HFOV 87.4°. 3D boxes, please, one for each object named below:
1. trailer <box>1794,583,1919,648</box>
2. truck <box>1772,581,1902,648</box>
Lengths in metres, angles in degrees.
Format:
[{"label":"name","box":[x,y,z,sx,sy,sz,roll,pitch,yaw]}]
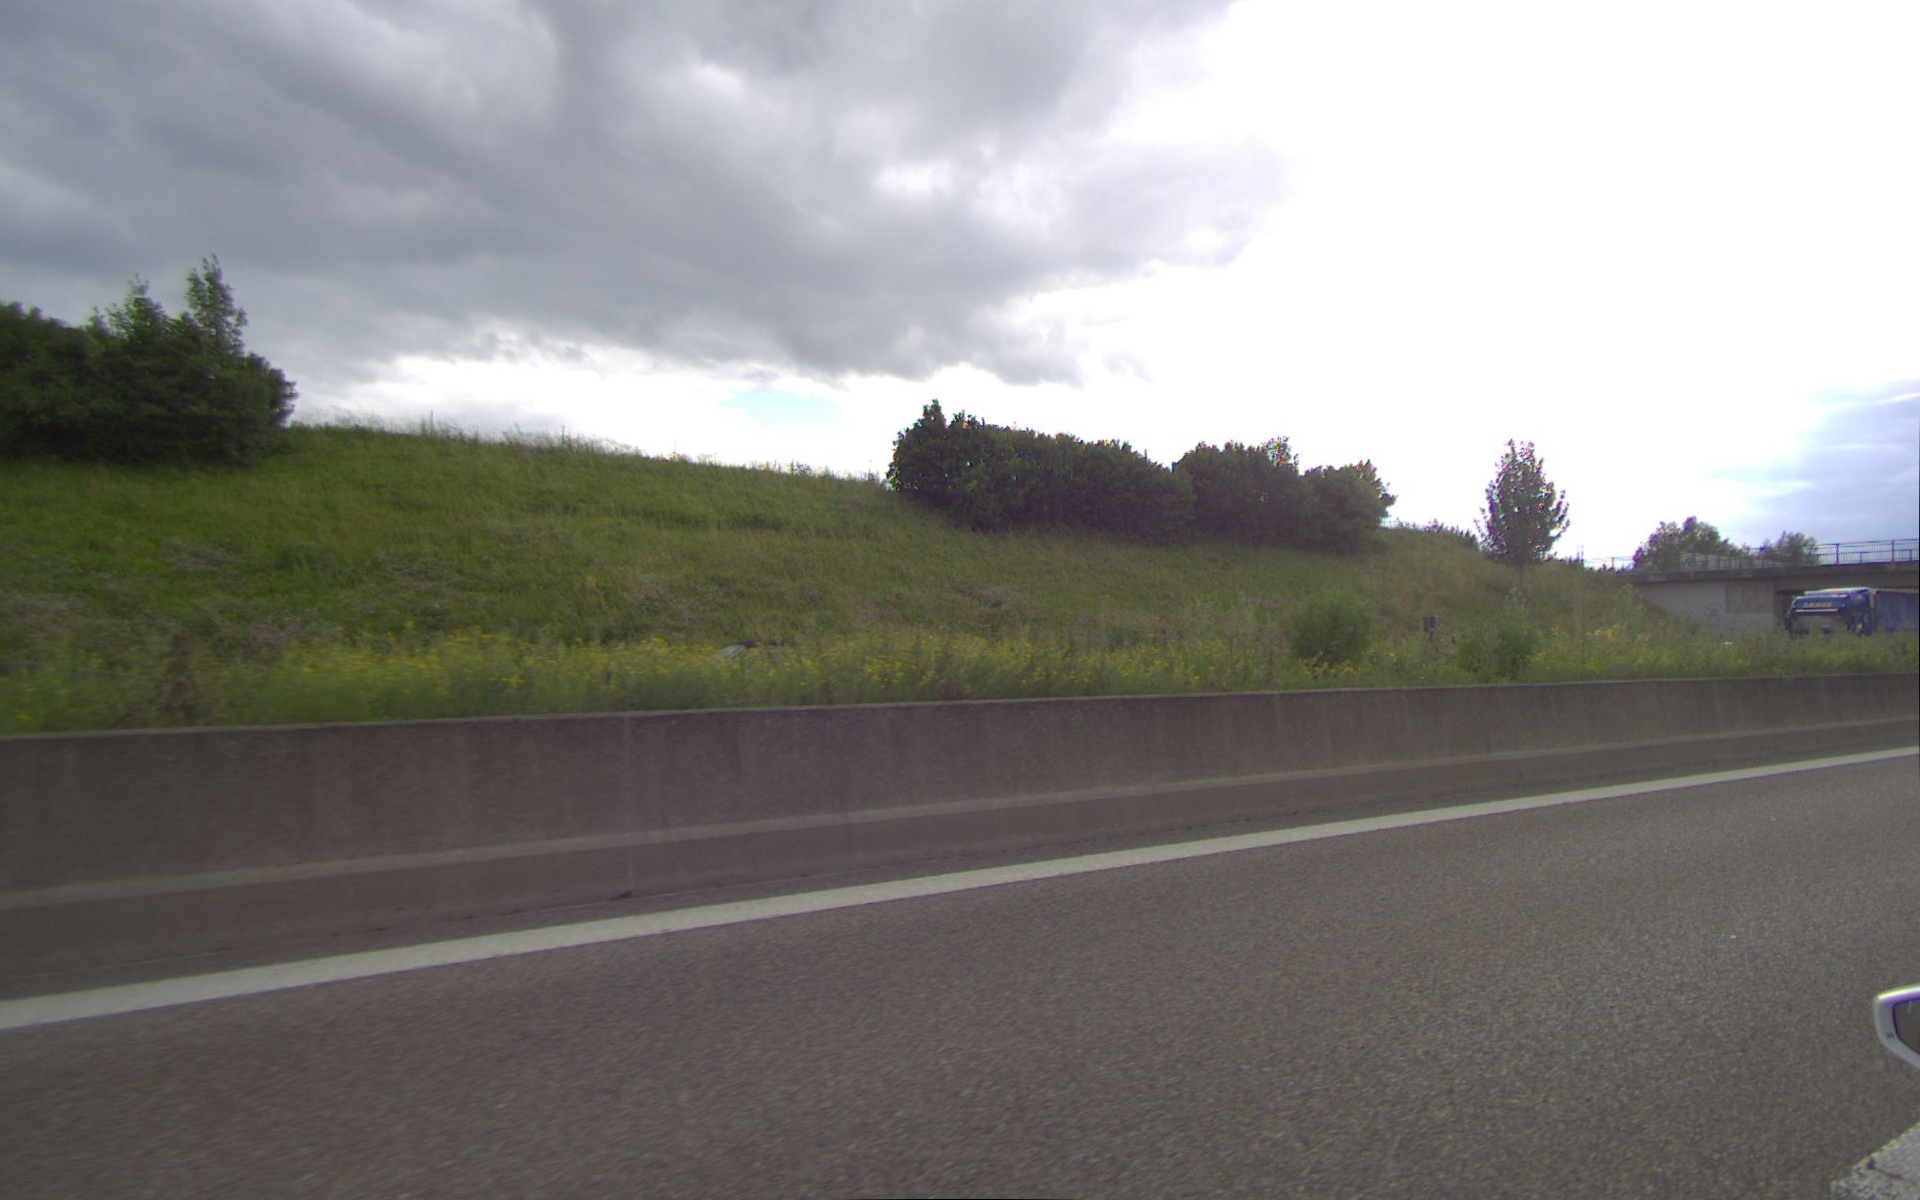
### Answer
[{"label":"trailer","box":[47.492,0.866,51.338,13.807,2.995,2.907,2,0,-30]},{"label":"truck","box":[42.051,0.700,48.138,6.043,2.985,2.896,2,0,-30]}]
